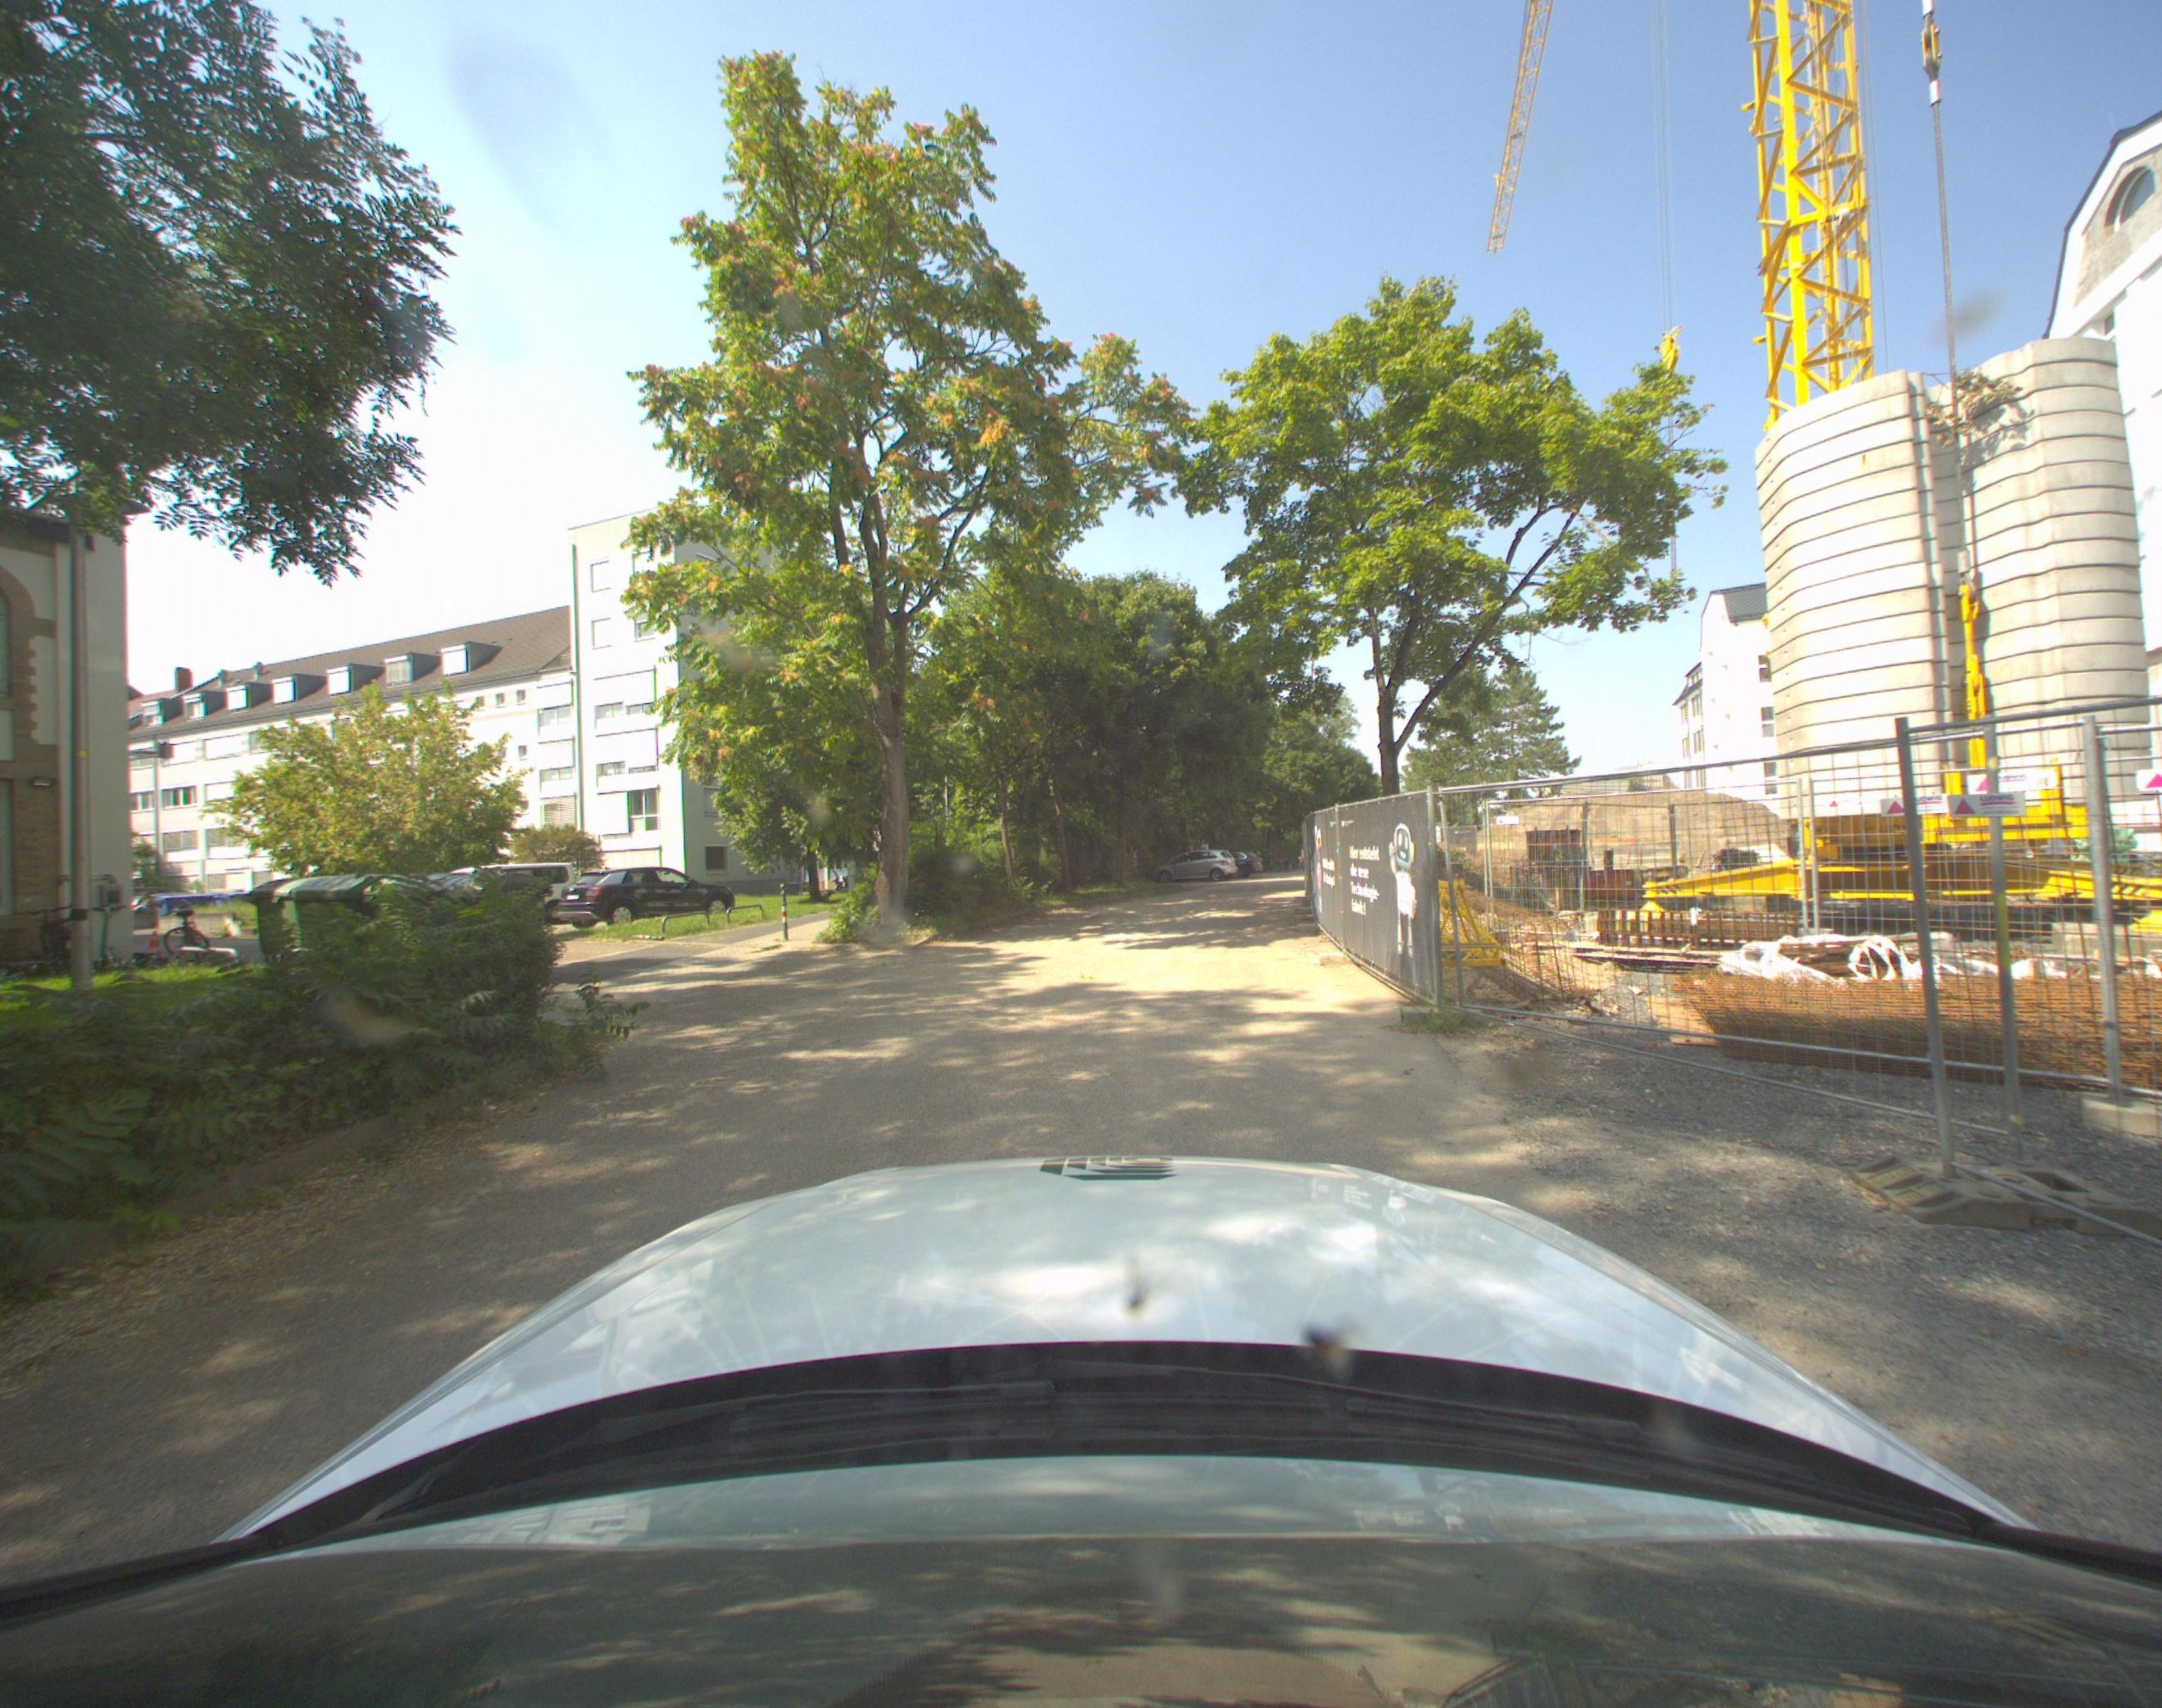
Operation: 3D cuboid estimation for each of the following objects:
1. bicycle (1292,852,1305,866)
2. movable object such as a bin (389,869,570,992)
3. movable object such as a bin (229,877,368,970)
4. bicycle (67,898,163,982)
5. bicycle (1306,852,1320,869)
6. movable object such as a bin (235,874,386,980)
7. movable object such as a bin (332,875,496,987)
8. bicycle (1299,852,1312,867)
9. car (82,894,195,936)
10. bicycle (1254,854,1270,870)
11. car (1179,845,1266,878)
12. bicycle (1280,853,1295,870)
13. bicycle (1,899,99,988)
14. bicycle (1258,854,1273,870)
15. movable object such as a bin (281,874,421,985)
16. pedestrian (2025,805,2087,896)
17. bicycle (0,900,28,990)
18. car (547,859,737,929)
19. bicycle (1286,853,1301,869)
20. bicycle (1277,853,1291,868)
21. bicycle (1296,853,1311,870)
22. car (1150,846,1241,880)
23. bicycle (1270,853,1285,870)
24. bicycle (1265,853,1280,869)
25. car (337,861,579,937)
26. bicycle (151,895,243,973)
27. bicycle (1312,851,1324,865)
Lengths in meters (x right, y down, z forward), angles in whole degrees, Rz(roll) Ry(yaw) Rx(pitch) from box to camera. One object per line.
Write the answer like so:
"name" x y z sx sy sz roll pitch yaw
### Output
"bicycle" 17.610 0.394 65.898 0.494 1.107 1.811 -2 0 31
"movable object such as a bin" -7.960 0.973 10.852 1.360 1.493 1.340 -2 0 11
"movable object such as a bin" -13.126 1.133 13.691 1.193 1.444 1.256 -2 0 20
"bicycle" -16.297 1.431 13.725 2.146 1.302 0.613 -3 -1 29
"bicycle" 16.222 0.446 56.908 0.494 1.107 1.811 -2 0 31
"movable object such as a bin" -11.807 1.076 12.512 1.193 1.495 1.256 -2 0 20
"movable object such as a bin" -9.389 1.042 11.512 1.317 1.432 1.256 -2 0 19
"bicycle" 17.294 0.414 62.664 0.494 1.107 1.811 -2 0 31
"car" -39.446 2.547 34.104 3.953 1.510 1.809 -3 -1 21
"bicycle" 12.568 0.553 56.438 0.494 1.107 1.811 -2 0 31
"car" 7.596 0.399 43.667 4.109 1.612 2.012 -2 0 27
"bicycle" 14.085 0.488 55.583 0.494 1.107 1.811 -2 0 31
"bicycle" -16.621 1.423 13.117 2.146 1.302 0.613 -3 -1 29
"bicycle" 13.233 0.544 58.492 0.494 1.107 1.811 -2 0 31
"movable object such as a bin" -10.577 1.055 11.836 1.089 1.482 1.107 -2 -1 20
"pedestrian" 16.927 -0.056 14.149 0.517 1.528 0.498 -3 -1 34
"bicycle" -16.936 1.406 12.499 2.146 1.302 0.613 -3 -1 29
"car" -11.090 0.954 20.837 1.685 1.528 3.937 -2 0 32
"bicycle" 15.153 0.483 58.018 0.494 1.107 1.811 -2 0 31
"bicycle" 15.397 0.459 61.751 0.494 1.107 1.811 -2 0 31
"bicycle" 14.877 0.472 54.396 0.494 1.107 1.811 -2 0 31
"car" 5.858 0.479 41.616 4.109 1.612 2.012 -2 0 27
"bicycle" 13.581 0.532 56.253 0.494 1.107 1.811 -2 0 31
"bicycle" 13.721 0.517 58.269 0.494 1.107 1.811 -2 0 31
"car" -18.380 1.260 24.352 2.470 1.881 5.116 -2 0 28
"bicycle" -15.925 1.425 14.660 2.146 1.302 0.613 -3 -1 29
"bicycle" 19.111 0.319 65.597 0.494 1.107 1.811 -2 0 31
